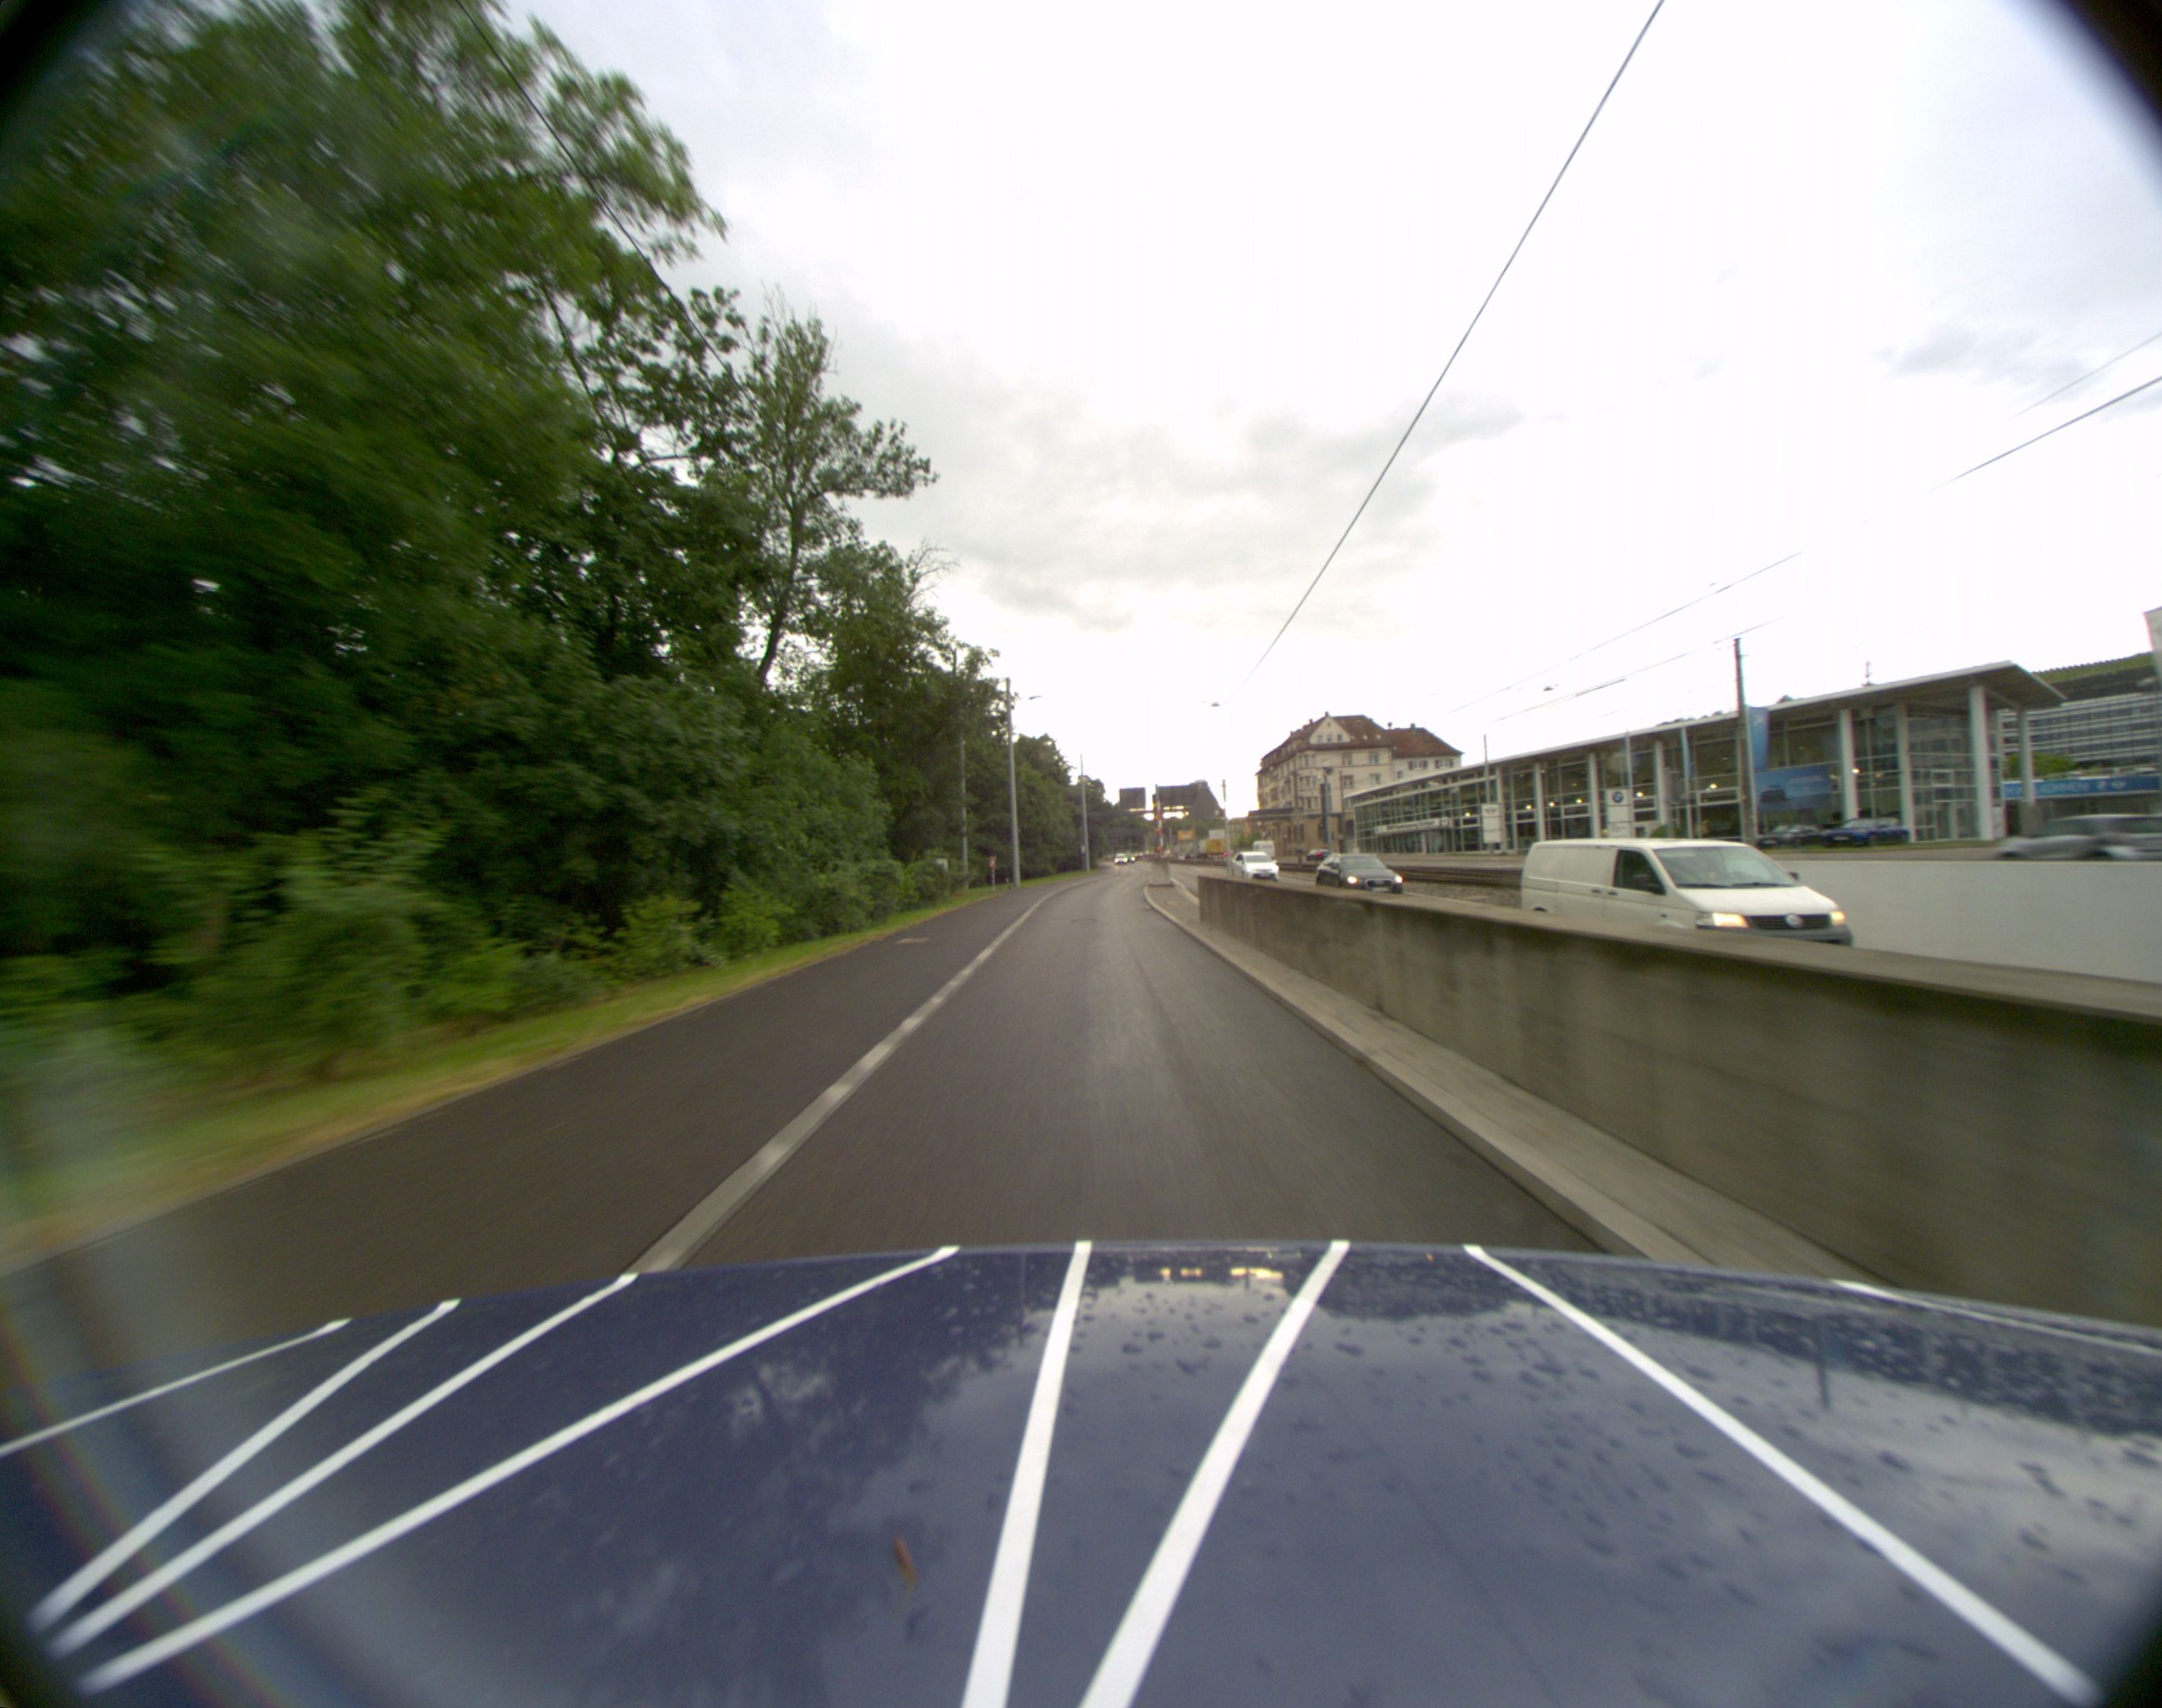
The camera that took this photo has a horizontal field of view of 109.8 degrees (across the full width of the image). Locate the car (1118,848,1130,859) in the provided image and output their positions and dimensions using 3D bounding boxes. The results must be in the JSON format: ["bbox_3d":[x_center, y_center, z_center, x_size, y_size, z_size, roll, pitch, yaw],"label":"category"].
[{"bbox_3d":[6.855,-0.080,120.582,1.710,1.585,4.000,-3,0,1],"label":"car"}]

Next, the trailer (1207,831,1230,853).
[{"bbox_3d":[27.176,-2.326,150.745,2.690,4.028,9.082,-2,1,0],"label":"trailer"}]

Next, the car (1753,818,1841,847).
[{"bbox_3d":[38.259,-1.134,40.605,4.003,1.227,1.701,-3,-2,-20],"label":"car"}]

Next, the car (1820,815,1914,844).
[{"bbox_3d":[39.072,-1.212,37.784,4.003,1.228,1.757,-3,1,-20],"label":"car"}]

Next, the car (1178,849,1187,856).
[{"bbox_3d":[28.755,-0.371,215.520,1.998,1.863,5.192,-3,0,0],"label":"car"}]

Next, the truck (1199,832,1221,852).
[{"bbox_3d":[27.161,-2.417,160.309,2.690,4.028,10.141,-2,1,0],"label":"truck"}]

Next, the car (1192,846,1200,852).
[{"bbox_3d":[31.437,-1.299,207.218,1.610,1.425,4.331,-3,0,1],"label":"car"}]

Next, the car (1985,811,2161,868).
[{"bbox_3d":[25.678,-0.360,19.569,1.385,1.292,2.800,-3,0,-1],"label":"car"}]

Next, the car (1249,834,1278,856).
[{"bbox_3d":[23.149,-1.172,96.629,2.056,2.583,6.164,-3,1,0],"label":"car"}]

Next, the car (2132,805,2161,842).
[{"bbox_3d":[39.009,-1.129,25.987,3.523,1.267,1.717,-3,1,5],"label":"car"}]

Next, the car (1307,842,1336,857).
[{"bbox_3d":[26.329,-0.516,83.201,1.746,1.507,4.339,-2,0,0],"label":"car"}]

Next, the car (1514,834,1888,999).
[{"bbox_3d":[8.918,0.751,11.640,1.914,1.947,4.718,-2,0,1],"label":"car"}]

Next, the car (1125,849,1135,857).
[{"bbox_3d":[9.455,-0.154,145.989,1.710,1.521,4.000,-3,0,1],"label":"car"}]

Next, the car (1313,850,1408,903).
[{"bbox_3d":[9.095,0.675,25.052,1.708,1.564,3.896,-2,0,1],"label":"car"}]

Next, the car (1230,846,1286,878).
[{"bbox_3d":[9.382,0.401,40.615,1.982,1.564,4.319,-2,0,1],"label":"car"}]
